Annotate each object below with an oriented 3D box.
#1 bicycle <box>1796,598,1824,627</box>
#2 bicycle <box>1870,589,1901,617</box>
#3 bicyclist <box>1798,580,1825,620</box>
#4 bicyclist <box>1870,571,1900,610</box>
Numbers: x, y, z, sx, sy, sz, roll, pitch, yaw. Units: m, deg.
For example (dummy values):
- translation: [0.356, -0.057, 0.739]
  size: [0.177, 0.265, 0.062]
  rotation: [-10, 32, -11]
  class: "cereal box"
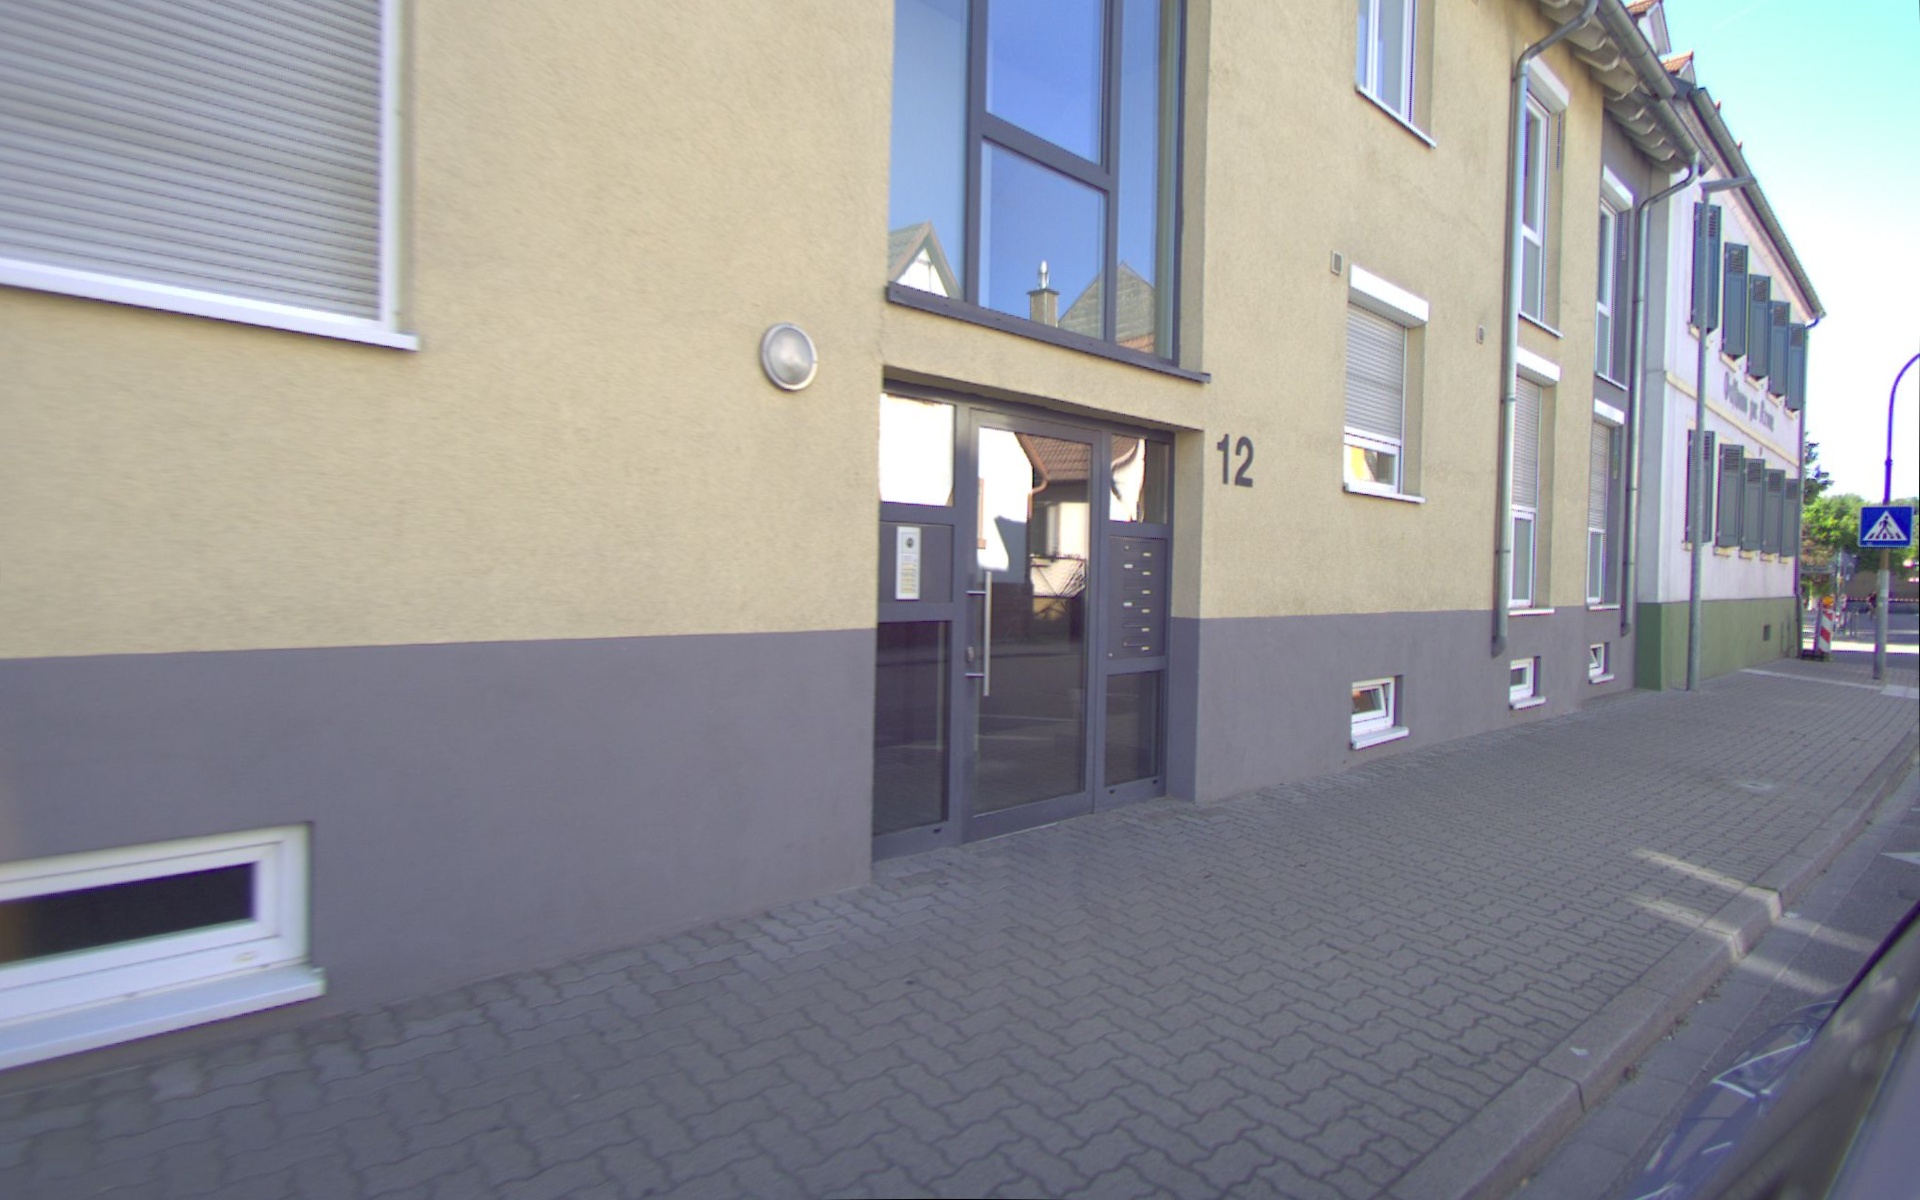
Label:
- translation: [35.261, 0.499, 41.989]
  size: [1.787, 1.076, 0.668]
  rotation: [-1, 6, -45]
  class: "bicycle"
- translation: [56.340, 0.178, 61.597]
  size: [1.254, 1.571, 3.936]
  rotation: [-2, 0, 44]
  class: "bicycle"
- translation: [35.317, -0.008, 41.977]
  size: [0.899, 1.557, 0.668]
  rotation: [-1, 5, -45]
  class: "bicyclist"
- translation: [56.371, -0.567, 61.678]
  size: [1.223, 2.337, 1.254]
  rotation: [-1, -1, -45]
  class: "bicyclist"
